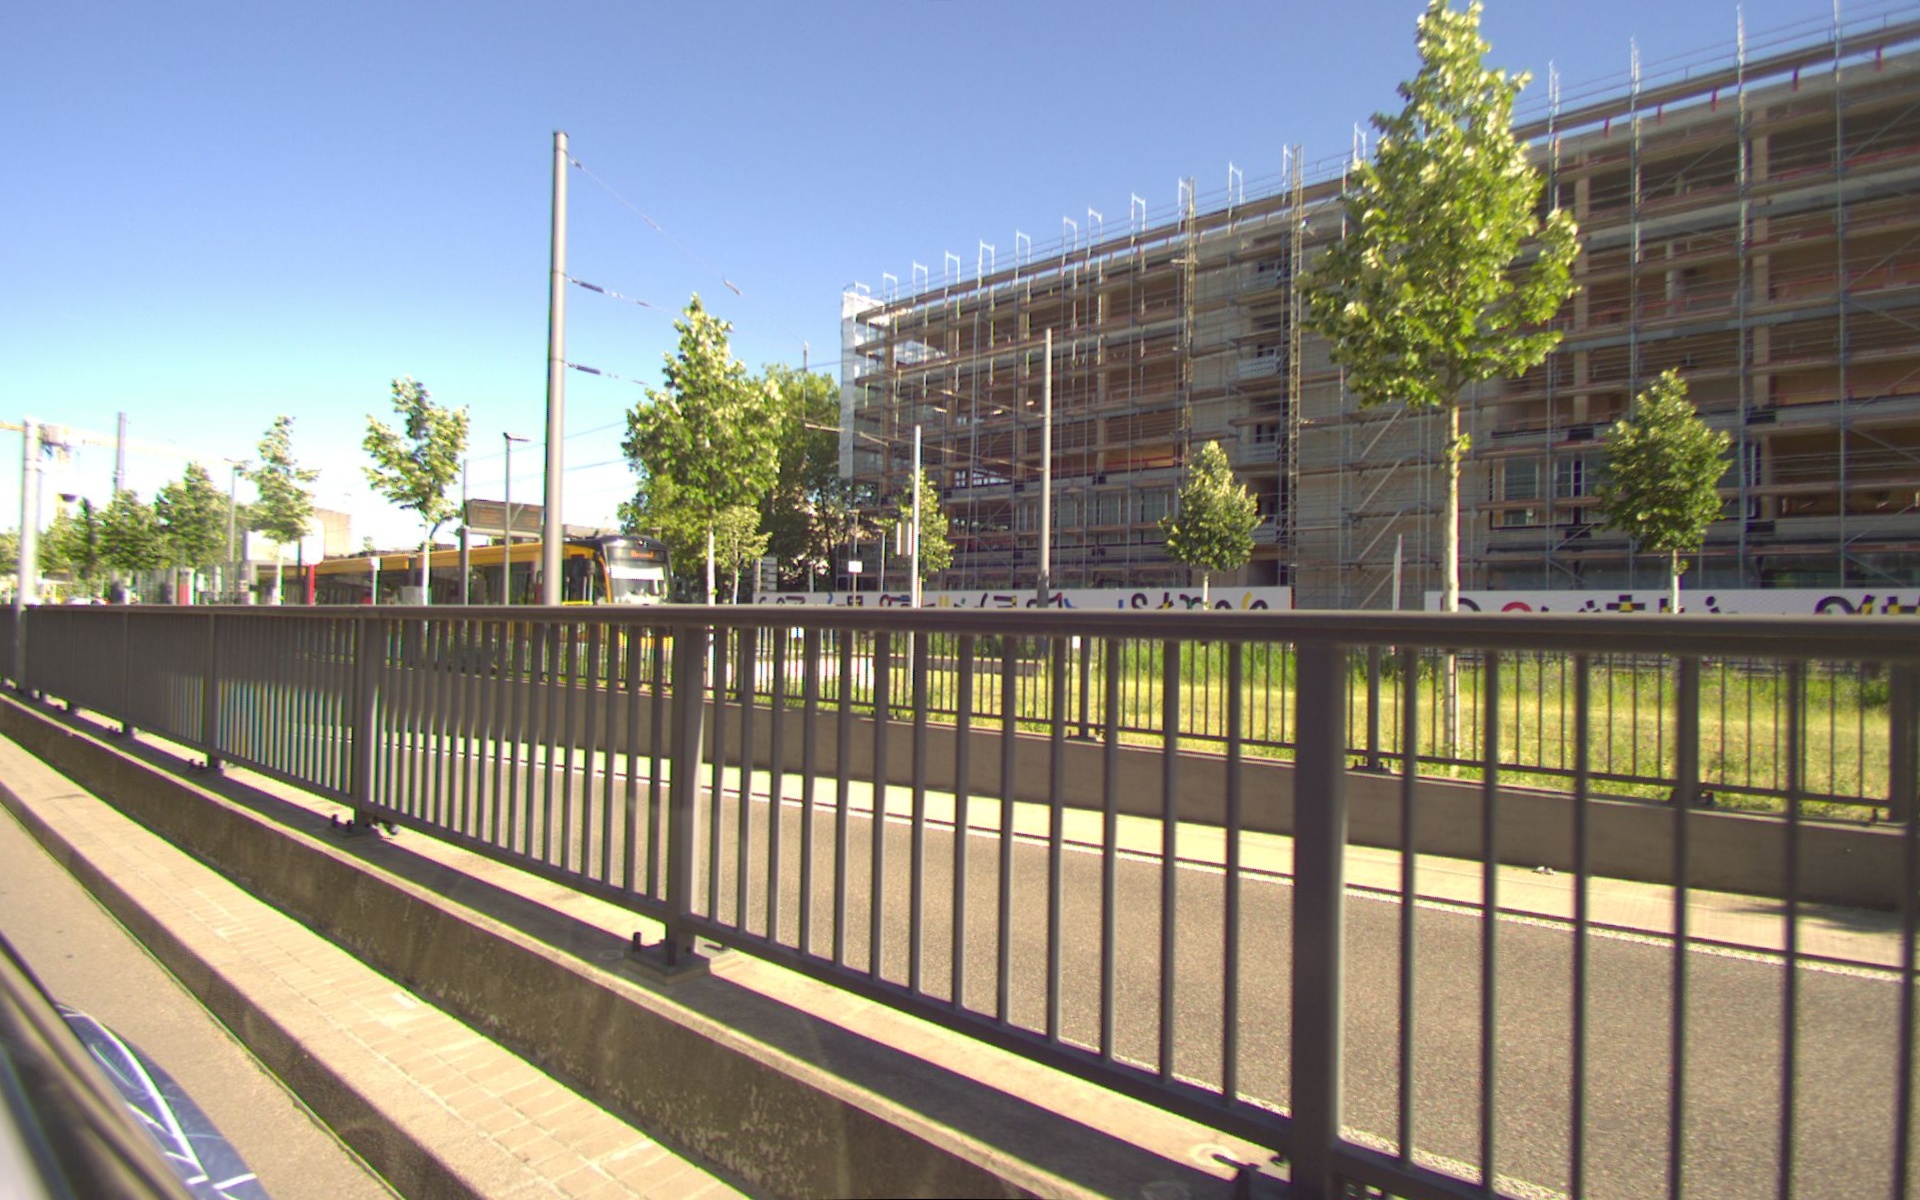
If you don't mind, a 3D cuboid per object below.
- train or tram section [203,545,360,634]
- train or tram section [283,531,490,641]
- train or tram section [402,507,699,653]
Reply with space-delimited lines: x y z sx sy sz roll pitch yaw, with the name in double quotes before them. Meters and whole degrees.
"train or tram section" -32.127 -0.392 47.573 12.783 3.666 2.786 0 -2 41
"train or tram section" -22.484 -0.403 39.131 12.783 3.666 2.786 0 -2 41
"train or tram section" -12.872 -0.444 30.701 12.783 3.666 2.786 0 -2 41
